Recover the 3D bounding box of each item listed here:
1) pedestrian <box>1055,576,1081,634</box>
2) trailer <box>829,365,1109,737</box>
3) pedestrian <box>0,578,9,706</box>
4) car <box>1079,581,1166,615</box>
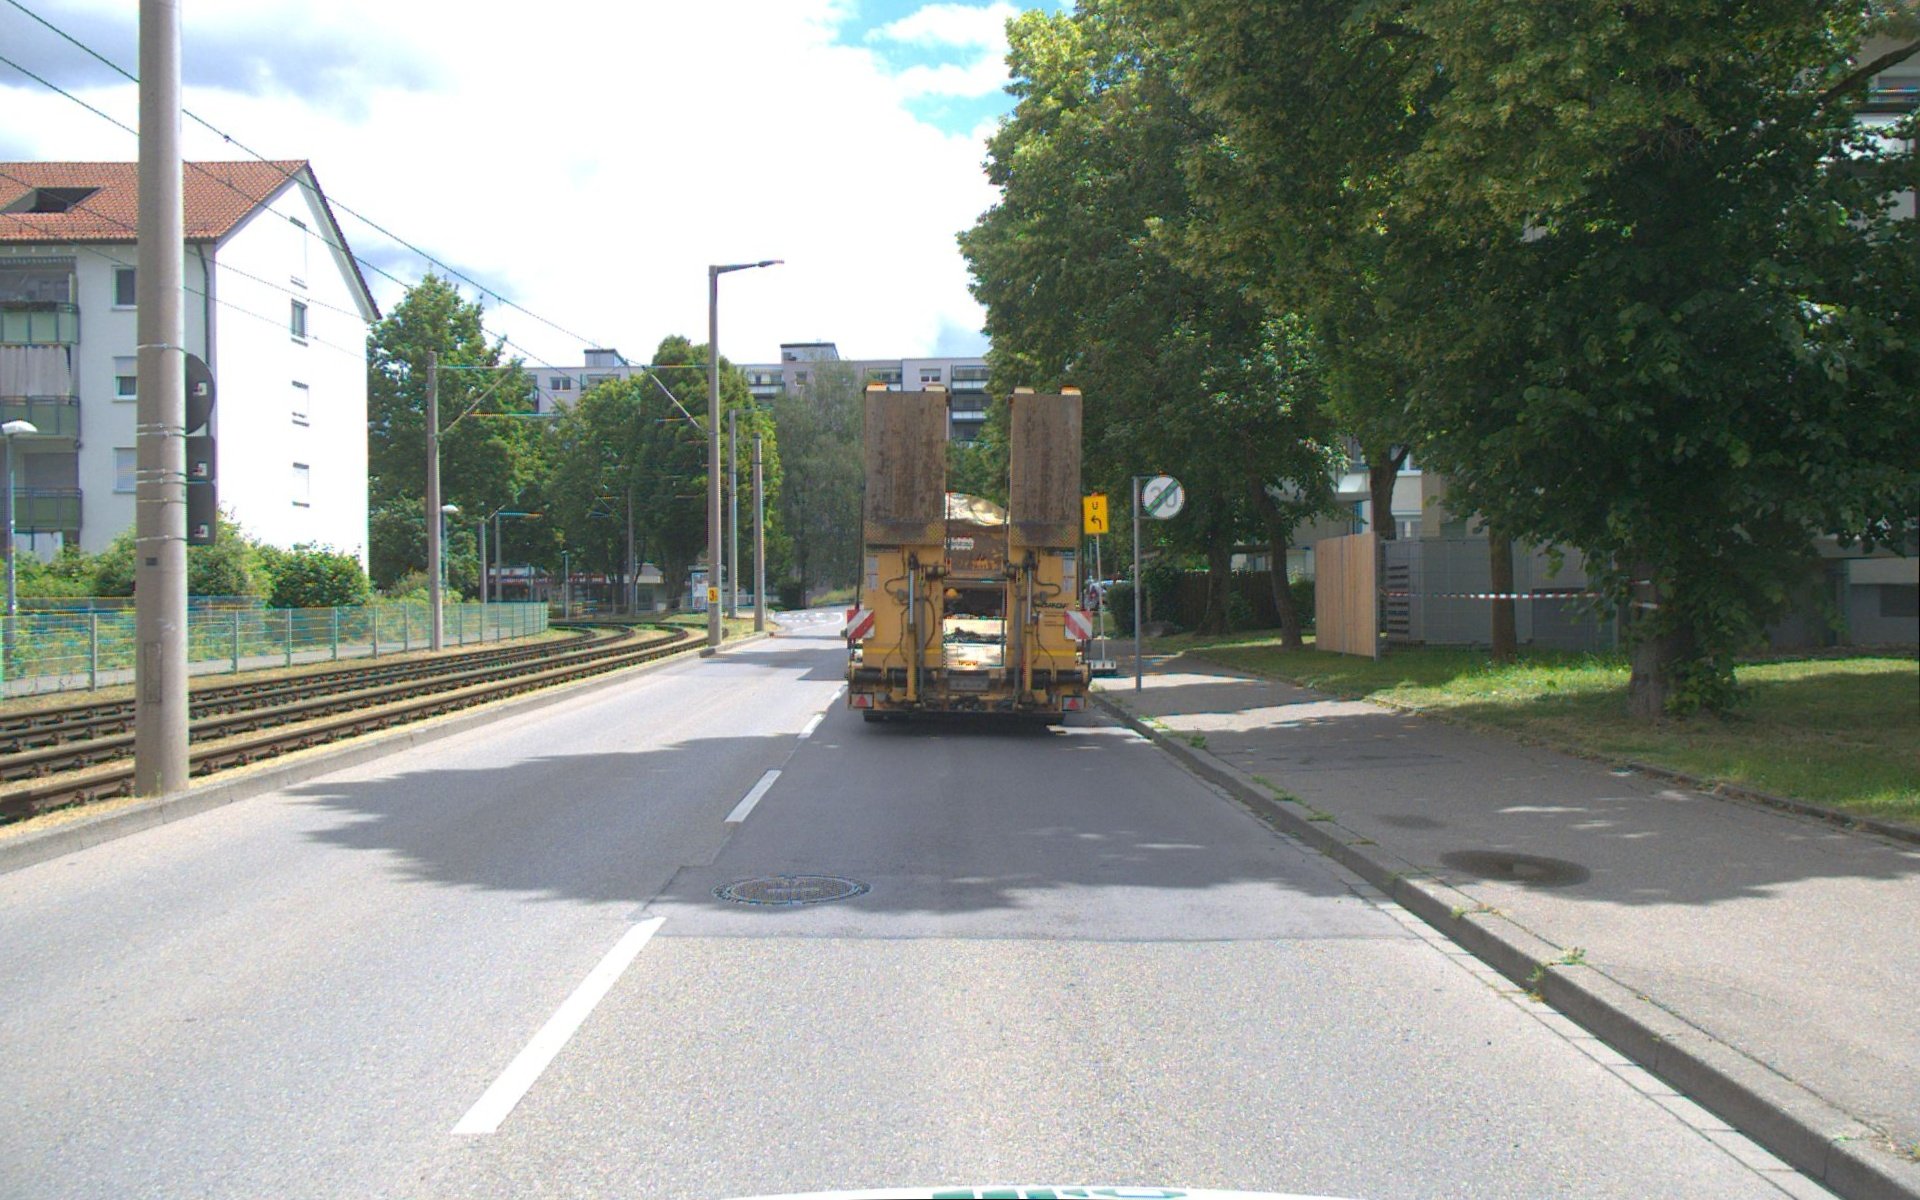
[{"bbox_3d":[3.296,0.149,50.471,0.703,1.736,0.766,-2,1,-1],"label":"pedestrian"},{"bbox_3d":[-0.032,-0.532,22.863,2.770,3.709,12.351,1,0,-1],"label":"trailer"},{"bbox_3d":[-14.524,0.631,24.281,0.646,1.881,0.768,-2,0,-1],"label":"pedestrian"},{"bbox_3d":[7.970,-0.099,81.419,3.918,1.588,1.754,1,0,-13],"label":"car"}]
